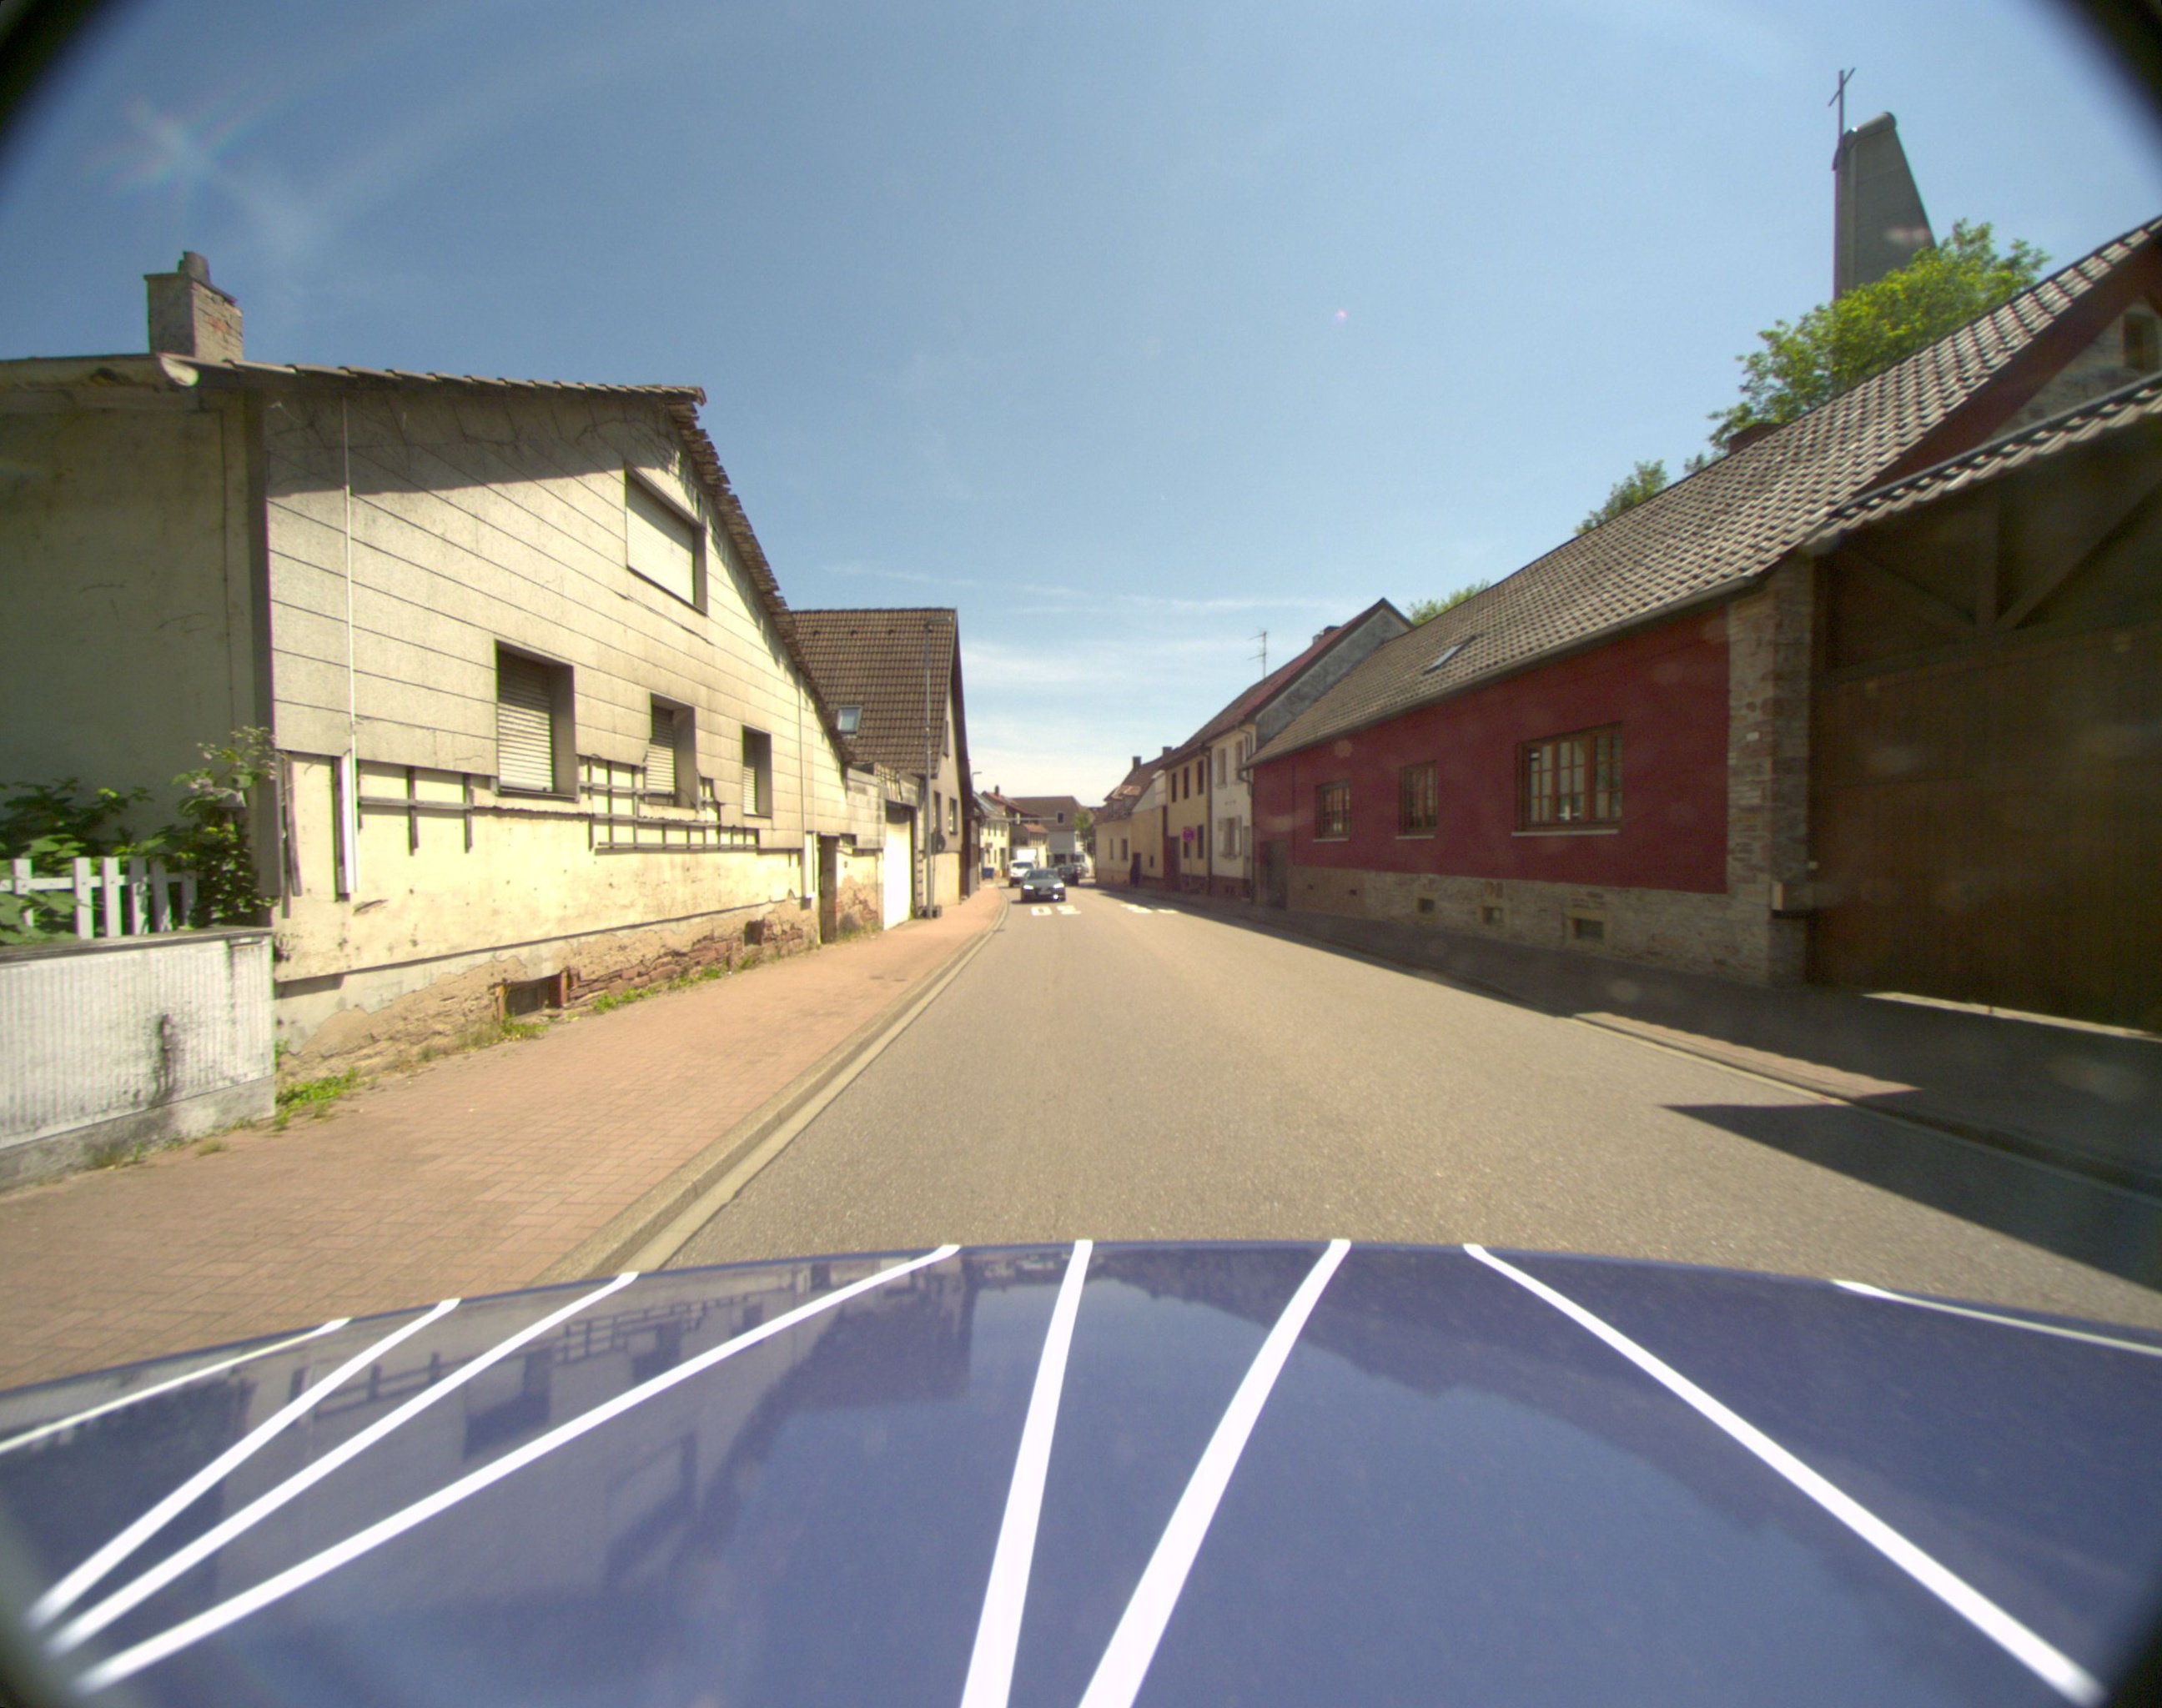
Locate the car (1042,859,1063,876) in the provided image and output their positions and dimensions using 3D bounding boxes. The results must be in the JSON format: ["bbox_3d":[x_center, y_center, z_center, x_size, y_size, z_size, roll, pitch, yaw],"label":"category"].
[{"bbox_3d":[-2.747,1.234,71.697,1.817,1.599,4.335,0,0,-5],"label":"car"}]

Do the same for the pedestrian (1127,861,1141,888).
[{"bbox_3d":[3.135,1.193,44.757,0.663,1.555,0.754,-2,1,-5],"label":"pedestrian"}]

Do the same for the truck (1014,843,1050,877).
[{"bbox_3d":[-5.321,0.591,84.003,2.866,3.492,8.321,0,1,5],"label":"truck"}]

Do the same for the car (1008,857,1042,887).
[{"bbox_3d":[-4.087,1.252,54.789,2.080,1.949,5.514,-1,1,-8],"label":"car"}]

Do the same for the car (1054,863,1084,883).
[{"bbox_3d":[-0.905,1.342,54.756,1.700,1.401,4.197,0,0,-7],"label":"car"}]

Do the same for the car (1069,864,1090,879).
[{"bbox_3d":[-0.150,2.065,90.126,1.832,1.612,4.264,0,0,9],"label":"car"}]

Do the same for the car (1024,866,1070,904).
[{"bbox_3d":[-1.461,1.241,31.906,1.787,1.364,3.605,-1,1,-4],"label":"car"}]
